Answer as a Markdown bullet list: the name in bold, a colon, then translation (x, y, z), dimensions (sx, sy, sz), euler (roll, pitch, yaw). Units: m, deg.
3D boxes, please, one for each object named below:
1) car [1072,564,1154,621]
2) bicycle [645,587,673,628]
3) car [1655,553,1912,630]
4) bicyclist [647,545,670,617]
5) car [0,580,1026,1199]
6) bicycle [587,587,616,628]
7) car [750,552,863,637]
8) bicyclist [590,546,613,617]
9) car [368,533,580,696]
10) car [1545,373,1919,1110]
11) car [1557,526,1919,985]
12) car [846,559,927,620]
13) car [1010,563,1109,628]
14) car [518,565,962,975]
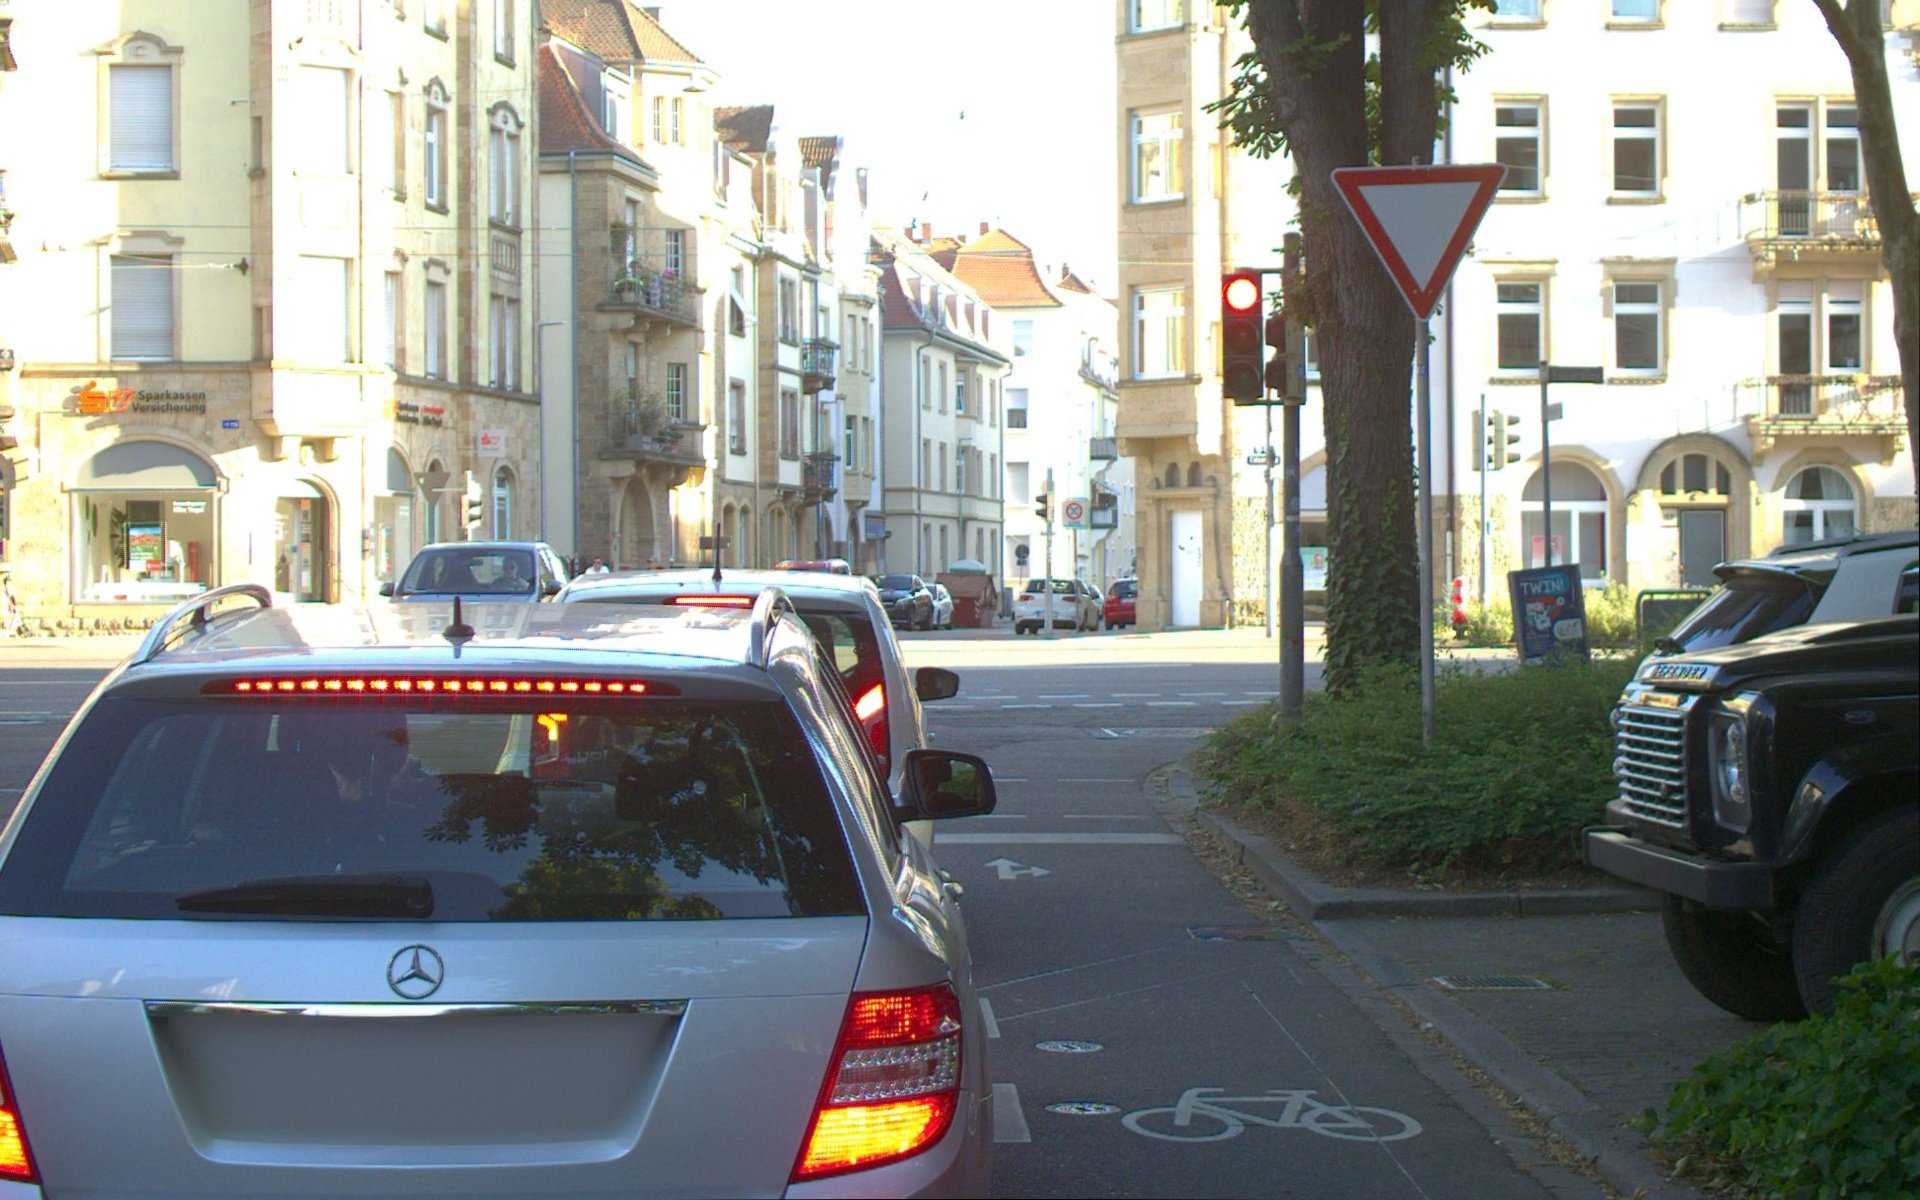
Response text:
- **car**: translation (4.568, -0.234, 102.082), dimensions (1.722, 1.473, 3.998), euler (-4, 1, 12)
- **bicycle**: translation (-6.416, 0.154, 73.310), dimensions (0.568, 0.832, 1.566), euler (0, 1, -4)
- **car**: translation (11.866, -0.131, 49.617), dimensions (3.364, 1.065, 1.380), euler (0, 1, -1)
- **bicyclist**: translation (-6.425, -0.404, 73.341), dimensions (0.466, 1.516, 0.694), euler (0, 1, -4)
- **car**: translation (-0.860, 0.705, 6.475), dimensions (1.690, 1.424, 3.493), euler (1, 1, -3)
- **bicycle**: translation (-7.630, 0.159, 73.180), dimensions (0.568, 0.832, 1.566), euler (0, 1, -4)
- **car**: translation (-3.593, -0.154, 81.068), dimensions (1.938, 1.952, 4.149), euler (0, 1, 8)
- **bicyclist**: translation (-7.646, -0.395, 73.325), dimensions (0.466, 1.509, 0.655), euler (0, 1, -4)
- **car**: translation (-4.809, 0.100, 34.406), dimensions (1.615, 1.496, 3.592), euler (0, 2, 0)
- **car**: translation (4.188, 0.288, 10.189), dimensions (4.490, 1.949, 1.793), euler (-2, 1, -3)
- **car**: translation (4.226, 0.499, 13.072), dimensions (3.480, 1.580, 1.711), euler (-2, 1, -6)
- **car**: translation (-2.169, -0.308, 102.440), dimensions (1.651, 1.777, 3.861), euler (0, 0, 11)
- **car**: translation (2.510, -0.128, 85.907), dimensions (1.722, 1.473, 3.998), euler (-2, 1, 12)
- **car**: translation (-0.831, 0.573, 13.730), dimensions (1.533, 1.386, 3.600), euler (0, 1, -2)
